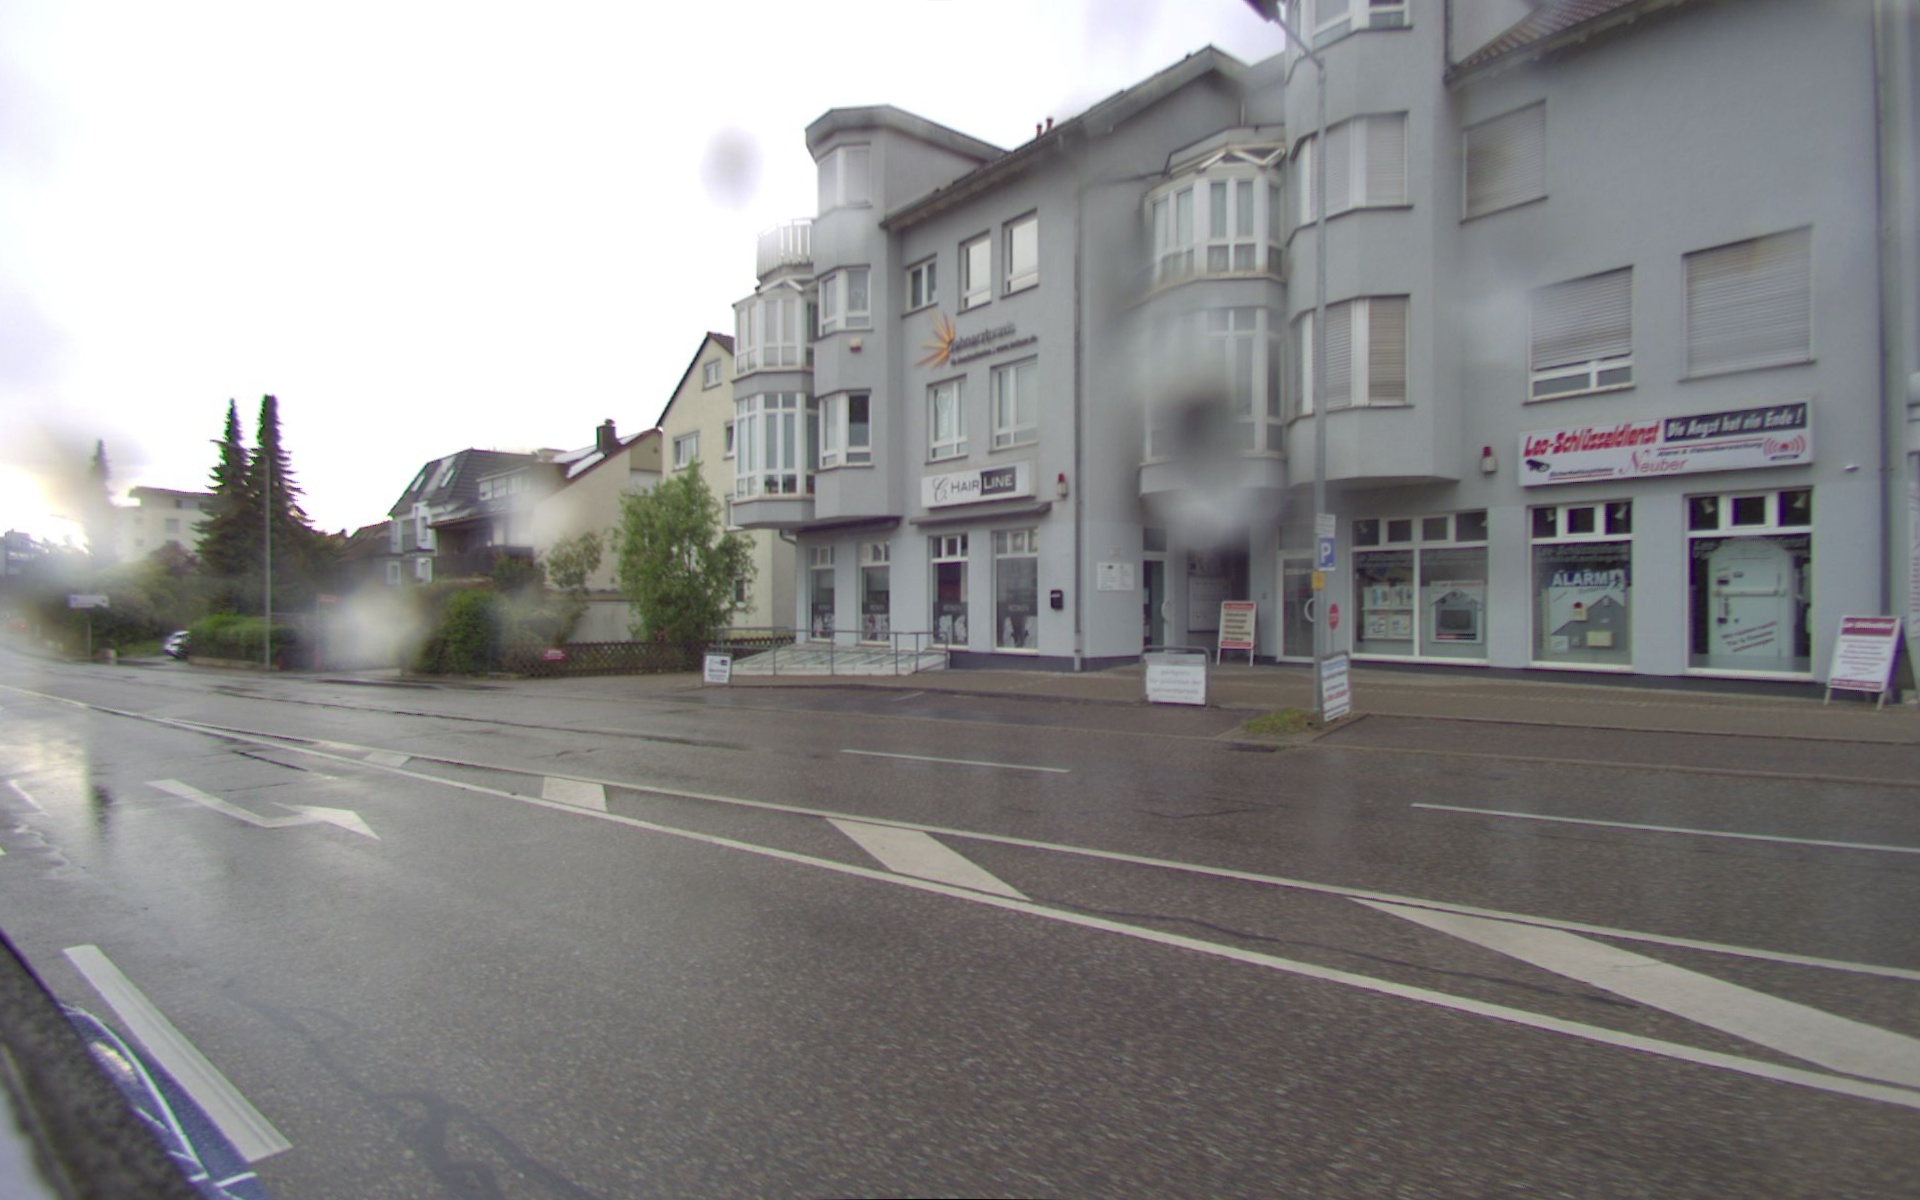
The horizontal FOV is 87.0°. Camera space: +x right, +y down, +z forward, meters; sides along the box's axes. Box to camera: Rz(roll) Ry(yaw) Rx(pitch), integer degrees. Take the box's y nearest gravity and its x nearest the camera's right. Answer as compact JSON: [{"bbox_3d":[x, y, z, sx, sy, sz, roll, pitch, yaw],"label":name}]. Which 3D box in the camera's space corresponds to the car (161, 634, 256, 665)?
[{"bbox_3d":[-42.472,2.780,57.217,4.058,1.557,2.001,-1,-1,-45],"label":"car"}]

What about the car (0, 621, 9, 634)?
[{"bbox_3d":[-139.262,3.978,146.678,1.824,1.777,4.128,1,-2,-39],"label":"car"}]

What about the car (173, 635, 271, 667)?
[{"bbox_3d":[-38.893,2.680,53.394,3.979,1.453,1.814,-1,-1,-45],"label":"car"}]

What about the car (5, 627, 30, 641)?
[{"bbox_3d":[-114.752,4.120,123.262,1.968,1.628,4.007,1,-2,-39],"label":"car"}]

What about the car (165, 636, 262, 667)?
[{"bbox_3d":[-40.650,2.768,55.163,4.097,1.453,1.892,-1,-1,-43],"label":"car"}]
